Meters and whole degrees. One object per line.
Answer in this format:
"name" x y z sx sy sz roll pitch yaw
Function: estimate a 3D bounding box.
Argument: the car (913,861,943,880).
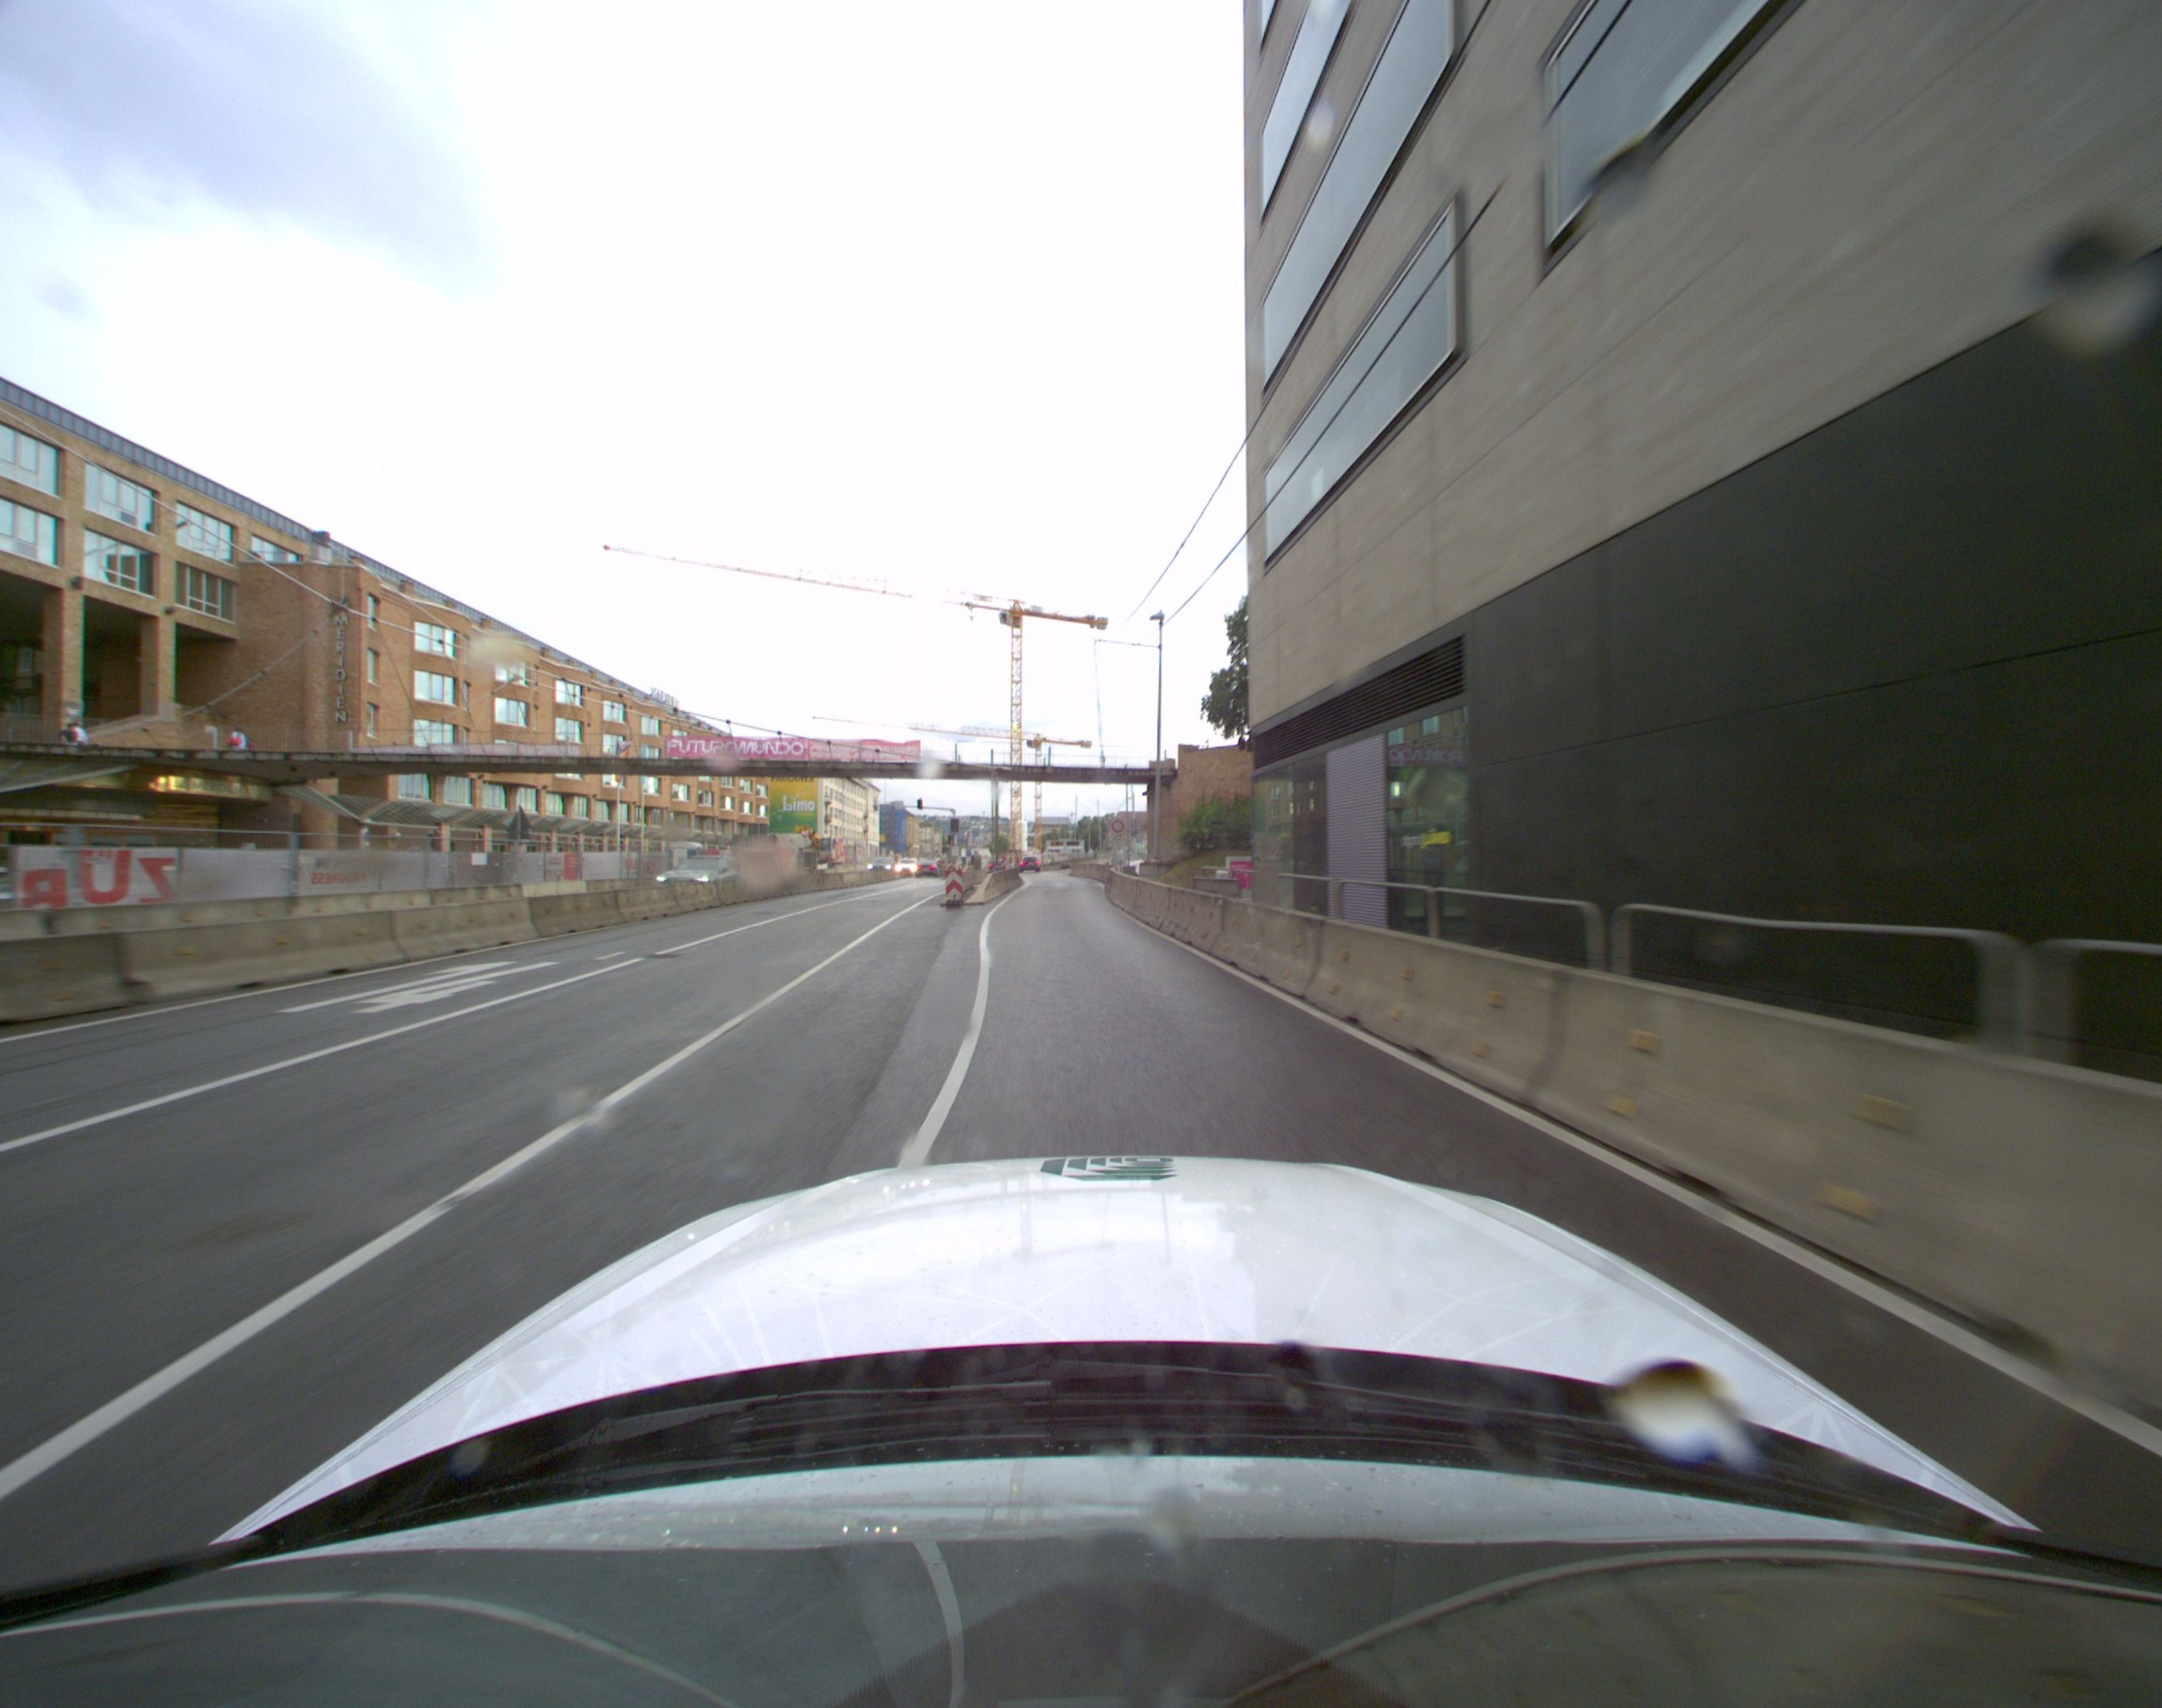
"car" -12.559 1.327 67.059 1.859 1.443 4.651 0 -1 -3

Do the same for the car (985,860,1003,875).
"car" -9.752 1.535 91.636 1.860 1.661 4.647 0 -1 -5

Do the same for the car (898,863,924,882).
"car" -17.527 1.845 84.275 1.802 1.821 5.294 -1 0 -3

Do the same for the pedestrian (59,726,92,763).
"pedestrian" -42.082 -4.589 34.086 0.619 1.452 0.618 -1 -1 -2

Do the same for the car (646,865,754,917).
"car" -13.773 1.281 29.794 1.990 1.623 4.695 -1 0 -4

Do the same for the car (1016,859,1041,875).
"car" -4.701 1.148 72.761 1.862 1.433 4.643 0 -1 -8

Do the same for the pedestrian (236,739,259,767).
"pedestrian" -36.862 -4.458 36.023 0.474 1.194 0.484 -1 -1 -2

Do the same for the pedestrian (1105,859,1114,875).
"pedestrian" 3.221 1.477 92.527 0.693 1.778 0.809 0 -2 -24

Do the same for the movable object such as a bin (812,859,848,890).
"movable object such as a bin" -20.324 1.620 66.092 2.025 2.277 4.280 -3 0 -8

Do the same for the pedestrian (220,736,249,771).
"pedestrian" -36.720 -4.361 35.334 0.619 1.452 0.618 -1 -1 -2

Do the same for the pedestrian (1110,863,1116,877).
"pedestrian" 4.084 2.063 104.584 0.688 1.778 1.021 -1 -2 -4

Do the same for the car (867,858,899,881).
"car" -15.874 1.217 65.382 1.801 1.623 3.899 -1 1 -3
